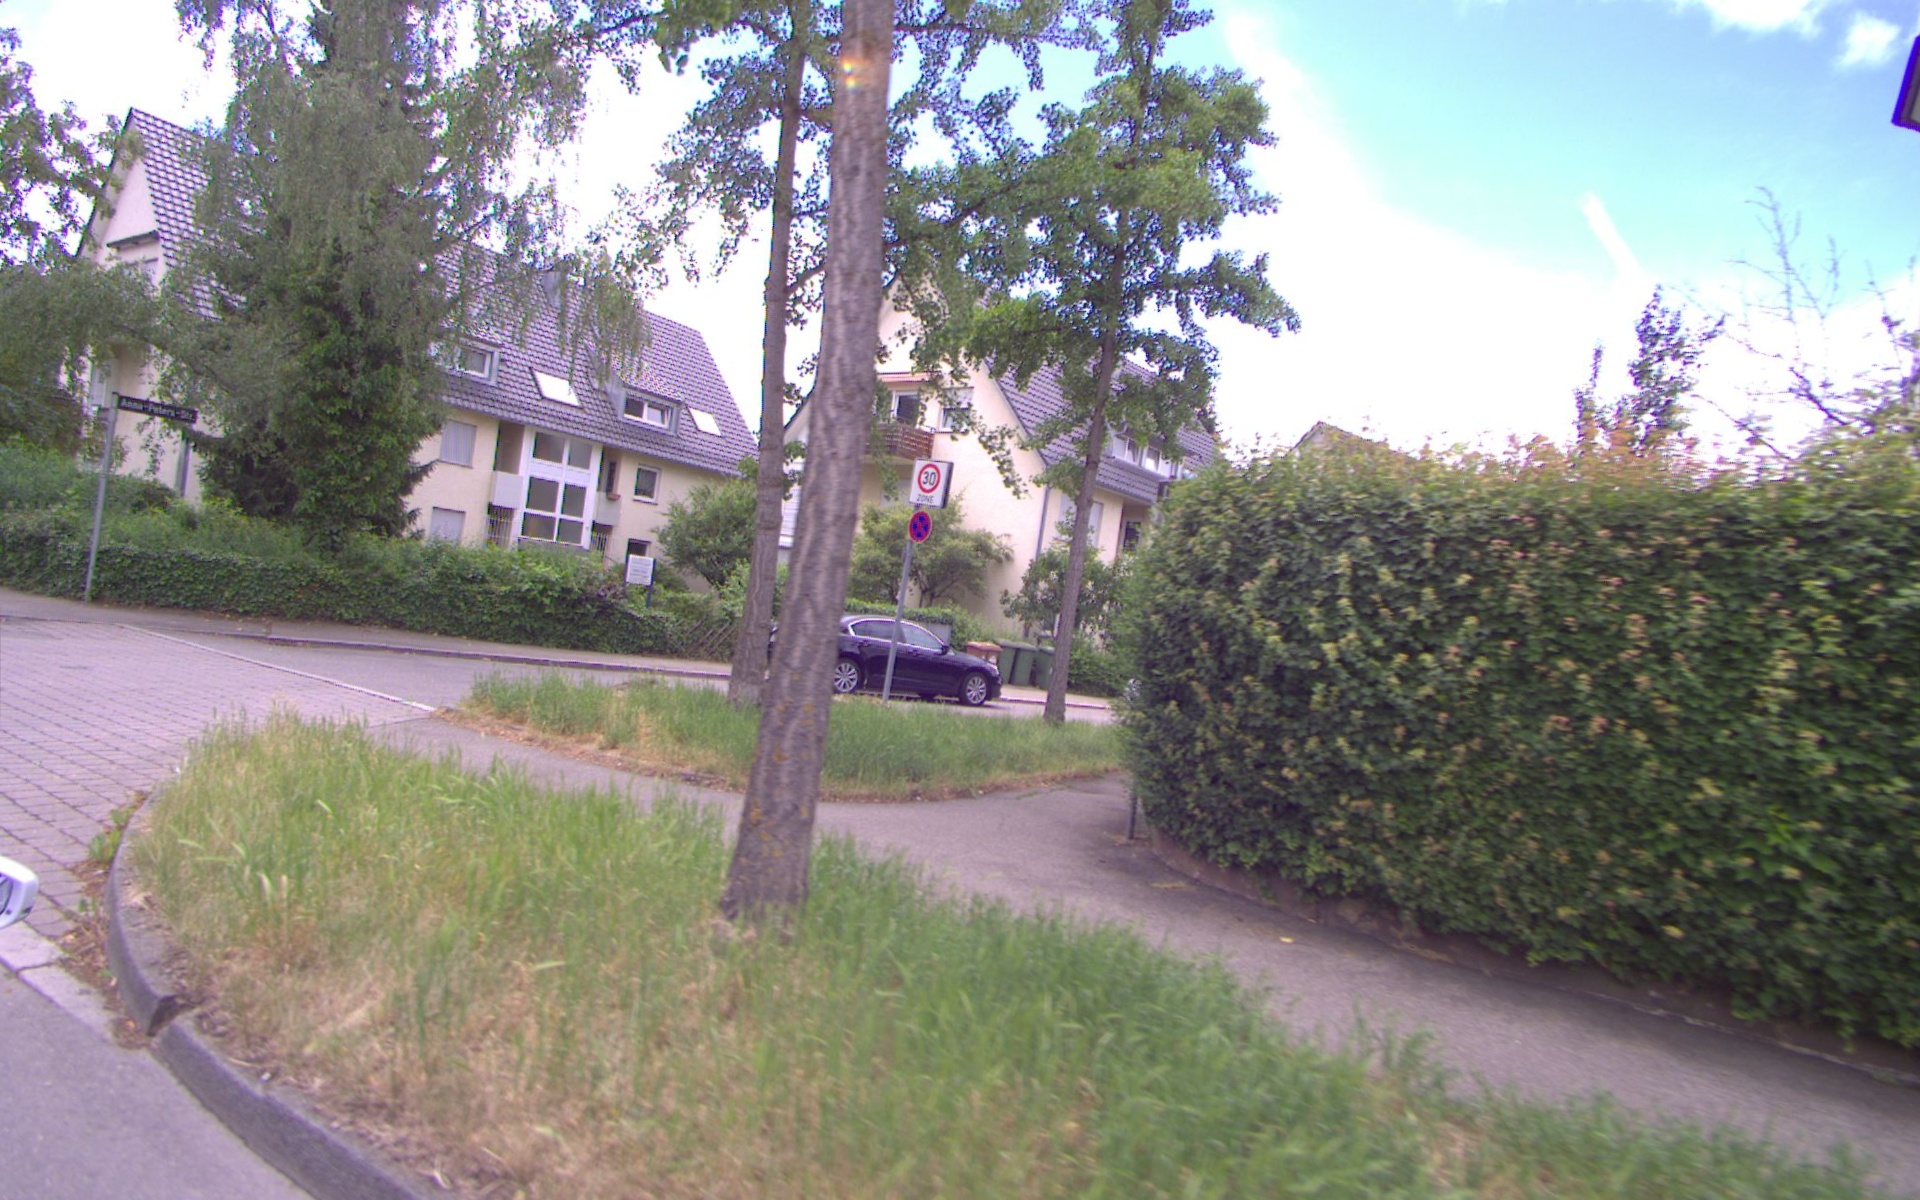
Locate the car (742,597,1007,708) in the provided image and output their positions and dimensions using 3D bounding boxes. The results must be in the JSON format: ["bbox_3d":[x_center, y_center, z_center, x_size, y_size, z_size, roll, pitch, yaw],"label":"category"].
[{"bbox_3d":[-1.502,0.992,18.480,4.421,1.480,1.853,9,-3,-34],"label":"car"}]

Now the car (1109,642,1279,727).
[{"bbox_3d":[5.652,2.045,24.128,3.937,1.572,1.748,9,-4,-36],"label":"car"}]
